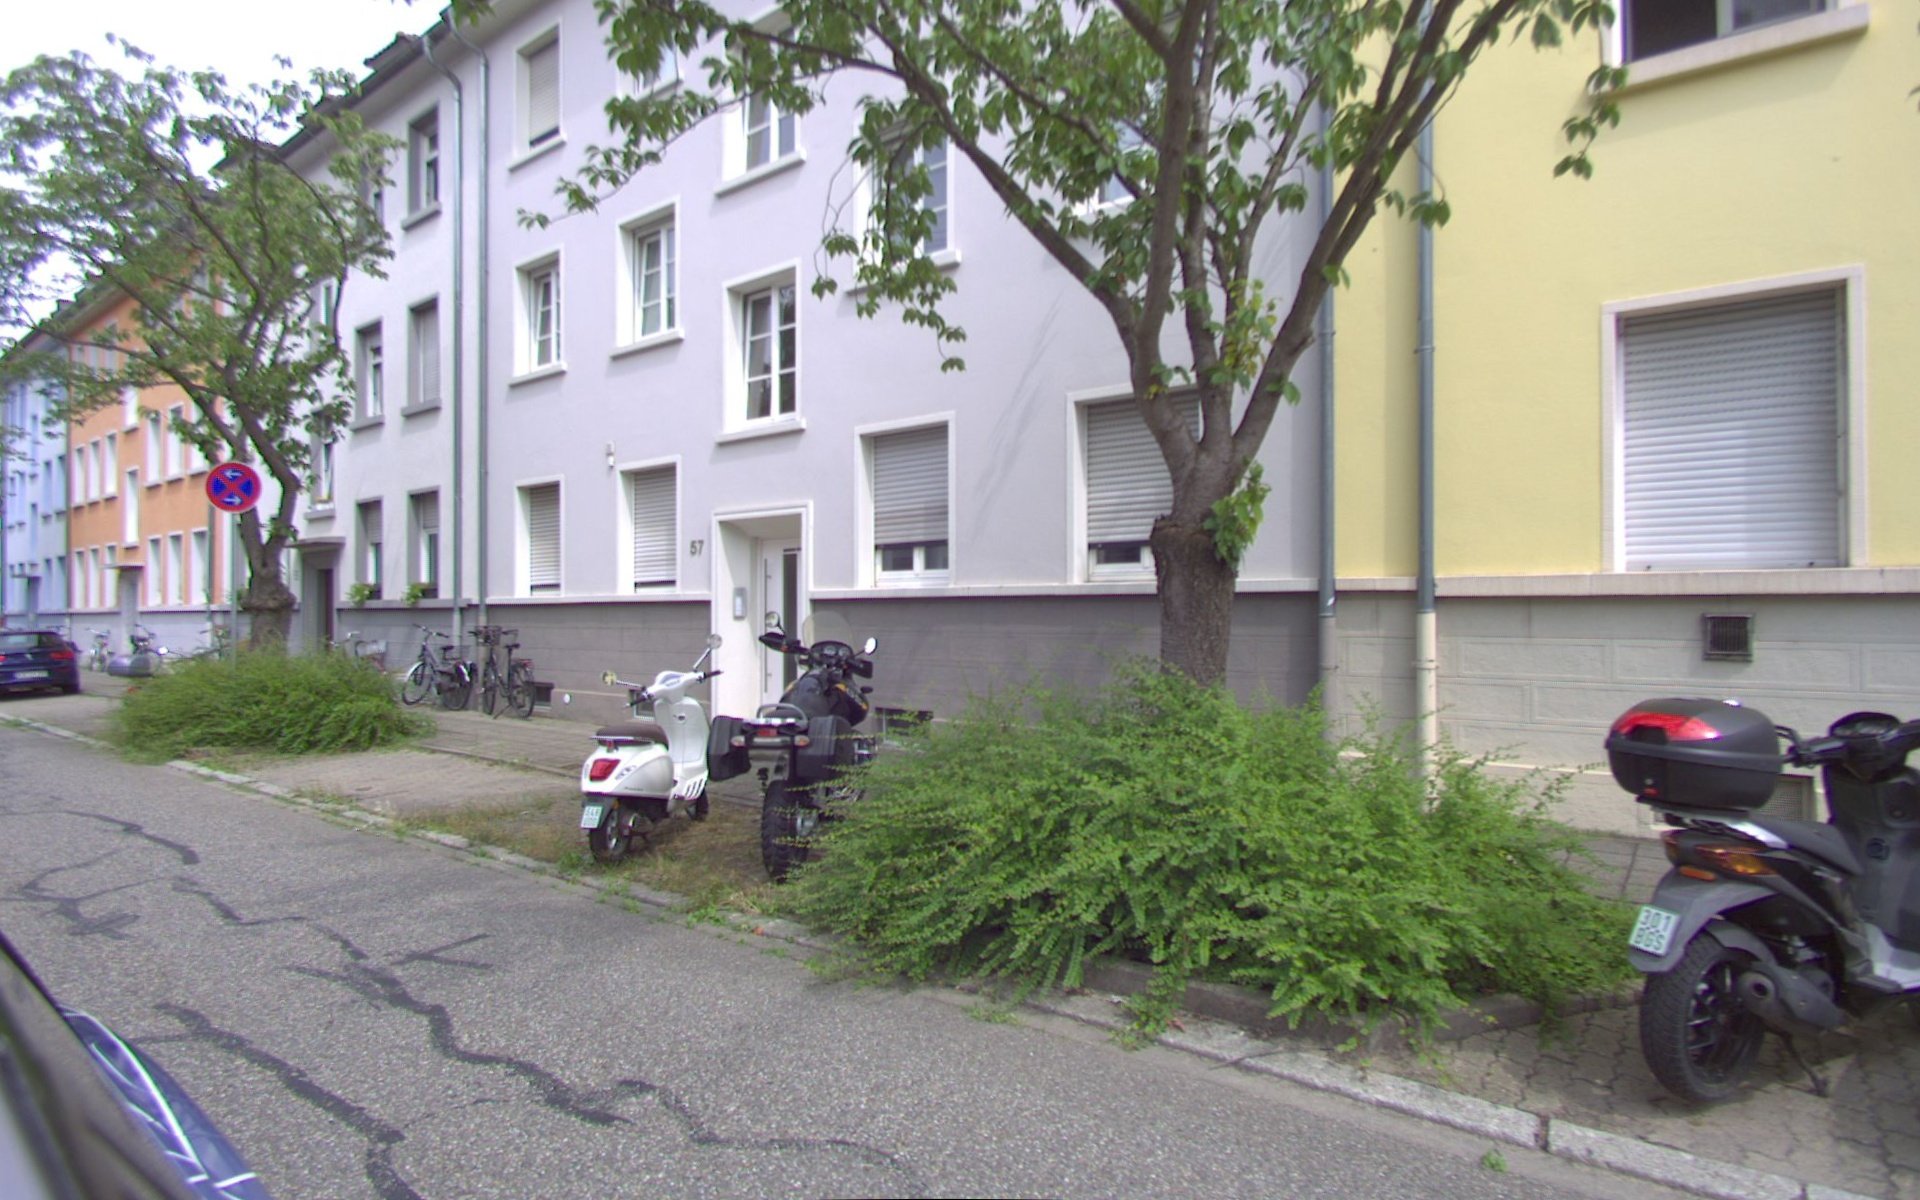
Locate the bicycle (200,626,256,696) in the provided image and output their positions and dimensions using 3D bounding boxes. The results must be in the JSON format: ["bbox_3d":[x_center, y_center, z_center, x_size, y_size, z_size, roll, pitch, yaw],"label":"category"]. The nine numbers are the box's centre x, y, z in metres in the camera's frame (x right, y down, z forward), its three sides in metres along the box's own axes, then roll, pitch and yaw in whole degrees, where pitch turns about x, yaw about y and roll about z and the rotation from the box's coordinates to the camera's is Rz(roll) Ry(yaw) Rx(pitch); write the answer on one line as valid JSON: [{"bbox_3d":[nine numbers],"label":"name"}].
[{"bbox_3d":[-14.875,1.219,20.546,1.810,1.344,0.425,-1,-3,40],"label":"bicycle"}]

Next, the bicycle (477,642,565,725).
[{"bbox_3d":[-5.773,1.066,13.271,1.432,1.014,0.416,-1,-3,39],"label":"bicycle"}]

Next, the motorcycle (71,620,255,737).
[{"bbox_3d":[-10.474,1.000,13.416,0.781,1.418,2.018,1,-2,0],"label":"motorcycle"}]

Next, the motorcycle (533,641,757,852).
[{"bbox_3d":[-2.032,0.890,6.842,0.590,1.201,1.905,1,-2,11],"label":"motorcycle"}]

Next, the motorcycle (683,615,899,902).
[{"bbox_3d":[-0.969,0.881,6.481,0.590,1.493,2.231,1,-2,11],"label":"motorcycle"}]

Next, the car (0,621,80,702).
[{"bbox_3d":[-20.053,1.238,20.982,4.113,1.495,1.820,-1,2,36],"label":"car"}]

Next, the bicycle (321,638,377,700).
[{"bbox_3d":[-10.164,1.124,16.822,1.432,0.974,0.306,-1,-3,39],"label":"bicycle"}]

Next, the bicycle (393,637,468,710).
[{"bbox_3d":[-7.781,1.061,14.853,1.432,1.014,0.416,-1,-3,39],"label":"bicycle"}]

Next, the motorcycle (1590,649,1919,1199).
[{"bbox_3d":[3.094,0.843,3.316,2.414,1.321,0.645,2,-3,-29],"label":"motorcycle"}]

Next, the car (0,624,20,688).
[{"bbox_3d":[-24.786,1.361,24.799,4.085,1.495,1.820,-1,0,36],"label":"car"}]

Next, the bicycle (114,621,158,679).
[{"bbox_3d":[-19.914,1.192,24.444,1.810,1.344,0.425,-1,-3,40],"label":"bicycle"}]
